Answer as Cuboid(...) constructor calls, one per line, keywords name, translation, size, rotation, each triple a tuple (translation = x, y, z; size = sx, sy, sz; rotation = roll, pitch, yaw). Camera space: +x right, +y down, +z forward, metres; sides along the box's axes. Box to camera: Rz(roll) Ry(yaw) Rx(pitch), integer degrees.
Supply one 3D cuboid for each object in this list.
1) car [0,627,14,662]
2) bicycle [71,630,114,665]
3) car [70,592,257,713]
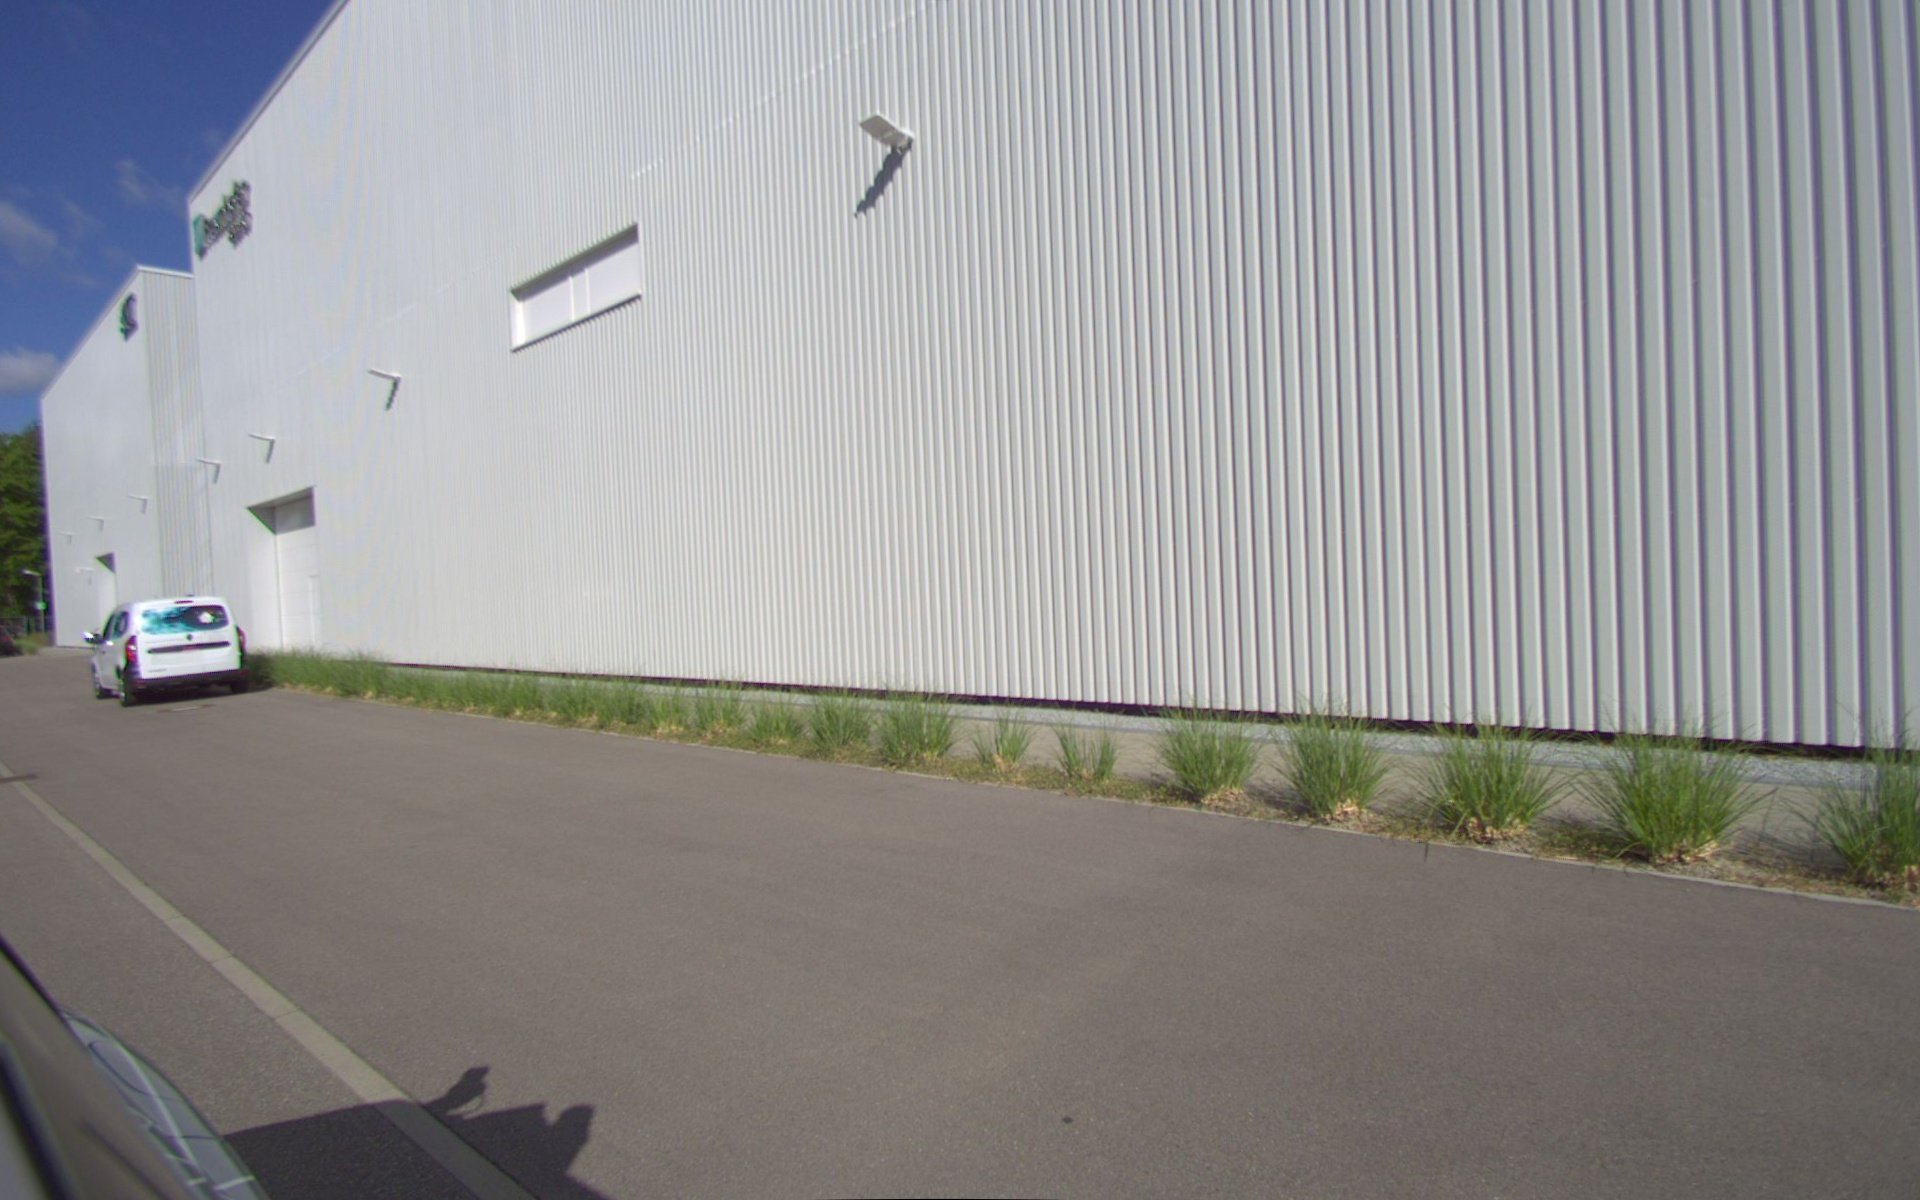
Cuboid(name="car", translation=(-46.111, 2.172, 47.715), size=(4.001, 1.533, 1.870), rotation=(-2, 4, 44))
Cuboid(name="bicycle", translation=(-33.000, 1.773, 38.516), size=(0.895, 1.151, 1.905), rotation=(-6, 4, -33))
Cuboid(name="car", translation=(-14.817, 0.914, 18.743), size=(4.357, 1.859, 1.871), rotation=(-2, 3, 42))
